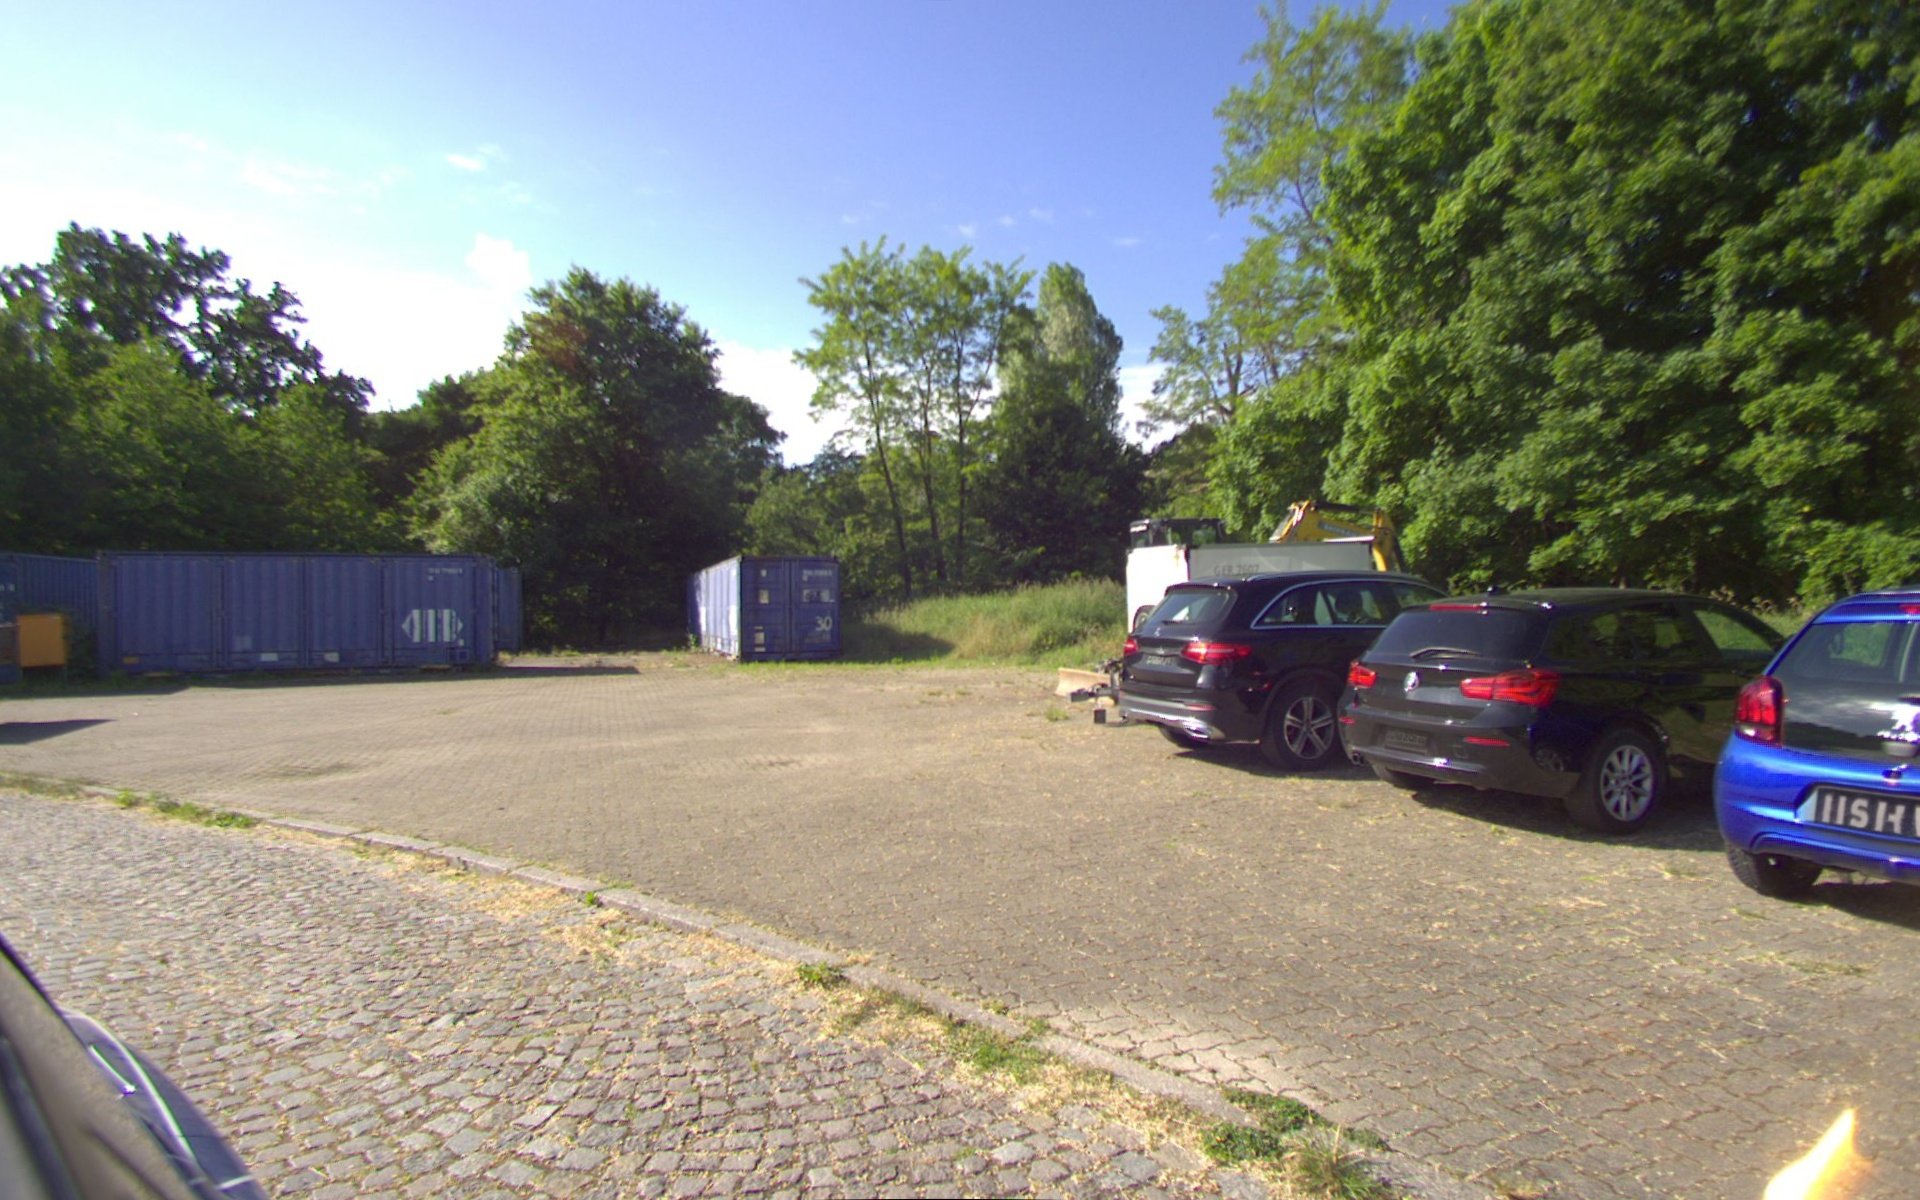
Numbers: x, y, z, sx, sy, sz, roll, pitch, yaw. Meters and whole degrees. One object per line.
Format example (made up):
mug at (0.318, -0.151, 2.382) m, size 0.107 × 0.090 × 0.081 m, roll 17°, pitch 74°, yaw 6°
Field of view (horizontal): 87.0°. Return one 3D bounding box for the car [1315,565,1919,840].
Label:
car at (4.531, 0.543, 6.896) m, size 3.600 × 1.462 × 1.840 m, roll -1°, pitch -1°, yaw -20°

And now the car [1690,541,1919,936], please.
car at (5.376, 0.496, 4.392) m, size 3.601 × 1.504 × 1.719 m, roll -1°, pitch -1°, yaw -17°

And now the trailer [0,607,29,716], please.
trailer at (-16.420, 0.940, 12.669) m, size 6.381 × 1.529 × 2.865 m, roll -1°, pitch 1°, yaw -20°

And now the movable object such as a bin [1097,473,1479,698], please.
movable object such as a bin at (4.829, -0.201, 15.087) m, size 5.077 × 2.988 × 2.006 m, roll -1°, pitch -1°, yaw -15°

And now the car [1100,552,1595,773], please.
car at (3.391, 0.456, 9.074) m, size 3.755 × 1.653 × 1.874 m, roll -1°, pitch -1°, yaw -18°

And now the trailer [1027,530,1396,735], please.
trailer at (2.954, 0.309, 11.994) m, size 3.904 × 2.109 × 1.644 m, roll -2°, pitch 0°, yaw -19°
